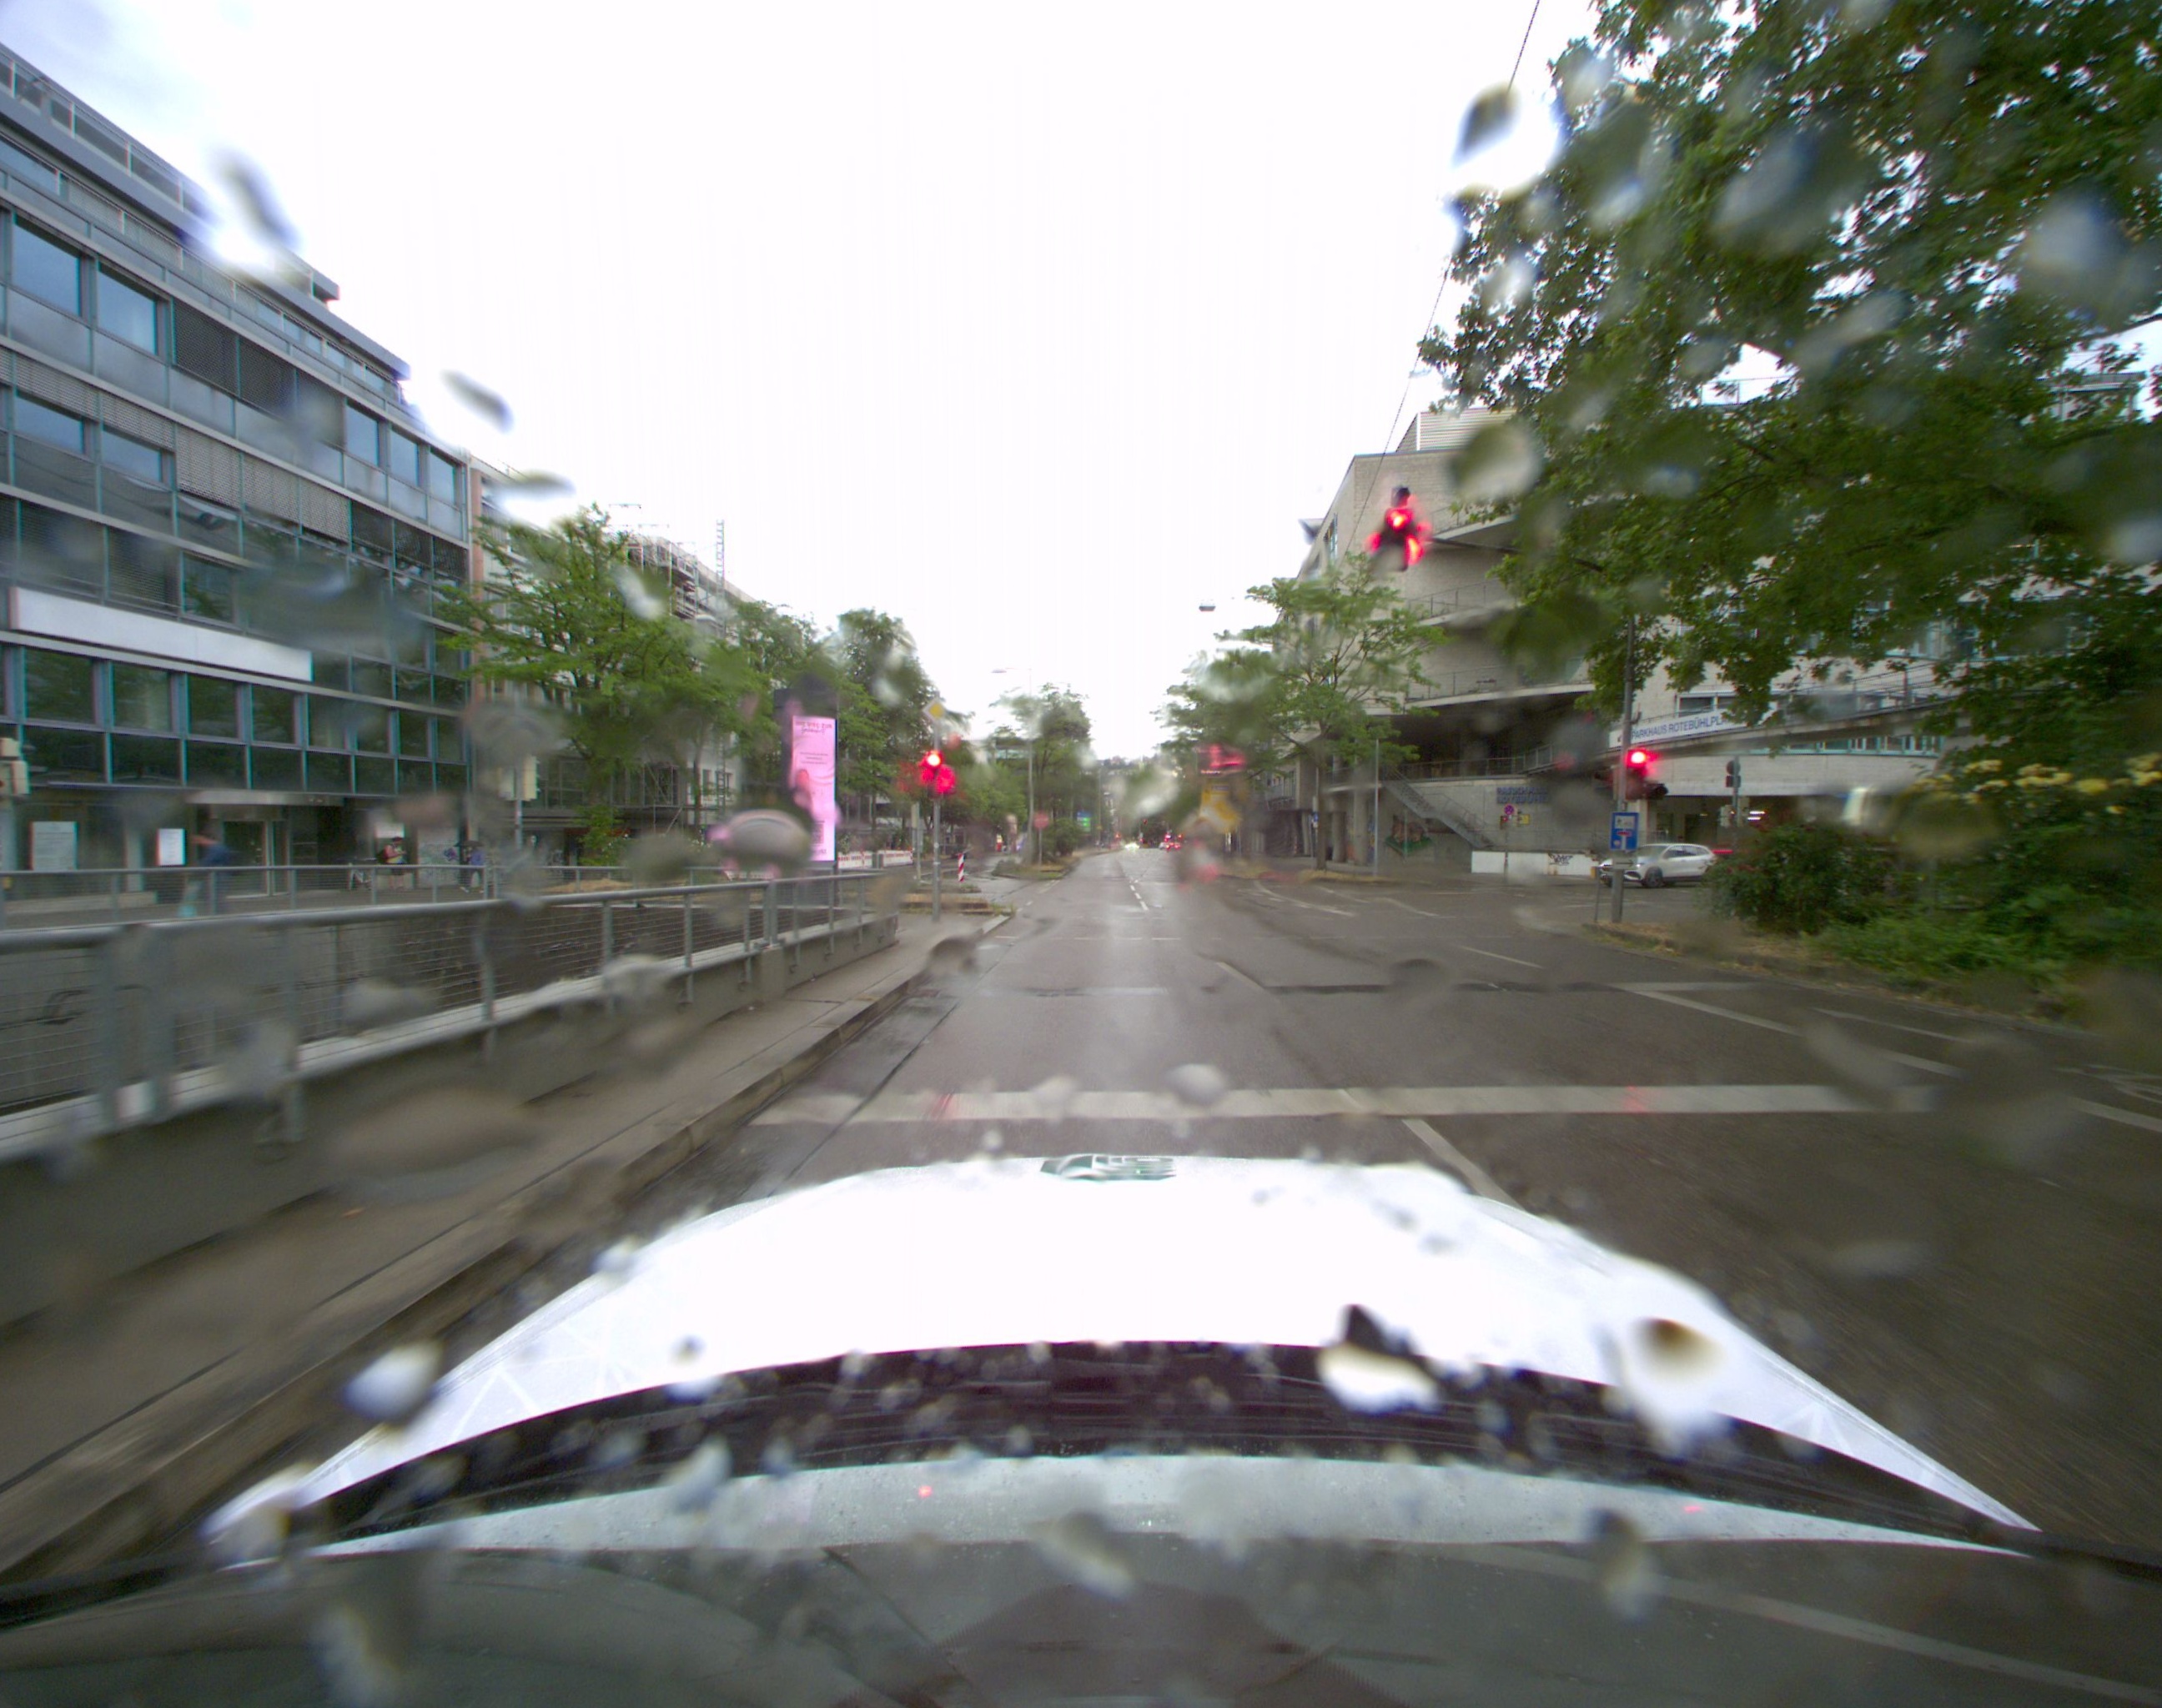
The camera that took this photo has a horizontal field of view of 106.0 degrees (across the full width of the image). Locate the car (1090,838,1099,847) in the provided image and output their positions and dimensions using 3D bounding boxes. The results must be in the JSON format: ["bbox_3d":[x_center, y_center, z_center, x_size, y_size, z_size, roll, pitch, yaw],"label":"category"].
[{"bbox_3d":[3.748,-3.178,225.957,2.118,2.164,5.204,1,0,5],"label":"car"}]

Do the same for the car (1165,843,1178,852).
[{"bbox_3d":[15.042,-1.046,135.504,1.739,1.519,4.108,1,0,2],"label":"car"}]

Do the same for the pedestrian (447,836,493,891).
[{"bbox_3d":[-20.944,0.319,27.919,0.874,1.868,0.867,1,0,0],"label":"pedestrian"}]

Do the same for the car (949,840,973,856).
[{"bbox_3d":[-12.570,-0.668,85.428,1.774,1.555,3.895,1,2,1],"label":"car"}]

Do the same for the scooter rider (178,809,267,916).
[{"bbox_3d":[-16.079,0.145,15.274,0.803,1.948,0.825,1,0,12],"label":"scooter rider"}]

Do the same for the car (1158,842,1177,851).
[{"bbox_3d":[19.480,-1.654,183.188,4.048,1.904,1.951,1,0,-5],"label":"car"}]

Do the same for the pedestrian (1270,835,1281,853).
[{"bbox_3d":[17.011,-0.832,71.251,0.782,1.557,0.534,1,0,6],"label":"pedestrian"}]

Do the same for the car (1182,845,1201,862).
[{"bbox_3d":[11.517,-0.070,85.085,1.892,1.684,3.917,1,0,6],"label":"car"}]

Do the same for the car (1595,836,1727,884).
[{"bbox_3d":[21.296,0.229,29.911,4.356,1.684,1.740,1,0,-19],"label":"car"}]

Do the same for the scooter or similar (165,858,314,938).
[{"bbox_3d":[-16.029,0.794,15.598,0.542,1.418,1.962,1,0,13],"label":"scooter or similar"}]

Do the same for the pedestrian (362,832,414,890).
[{"bbox_3d":[-22.771,0.223,26.762,0.857,1.868,0.964,1,0,20],"label":"pedestrian"}]
